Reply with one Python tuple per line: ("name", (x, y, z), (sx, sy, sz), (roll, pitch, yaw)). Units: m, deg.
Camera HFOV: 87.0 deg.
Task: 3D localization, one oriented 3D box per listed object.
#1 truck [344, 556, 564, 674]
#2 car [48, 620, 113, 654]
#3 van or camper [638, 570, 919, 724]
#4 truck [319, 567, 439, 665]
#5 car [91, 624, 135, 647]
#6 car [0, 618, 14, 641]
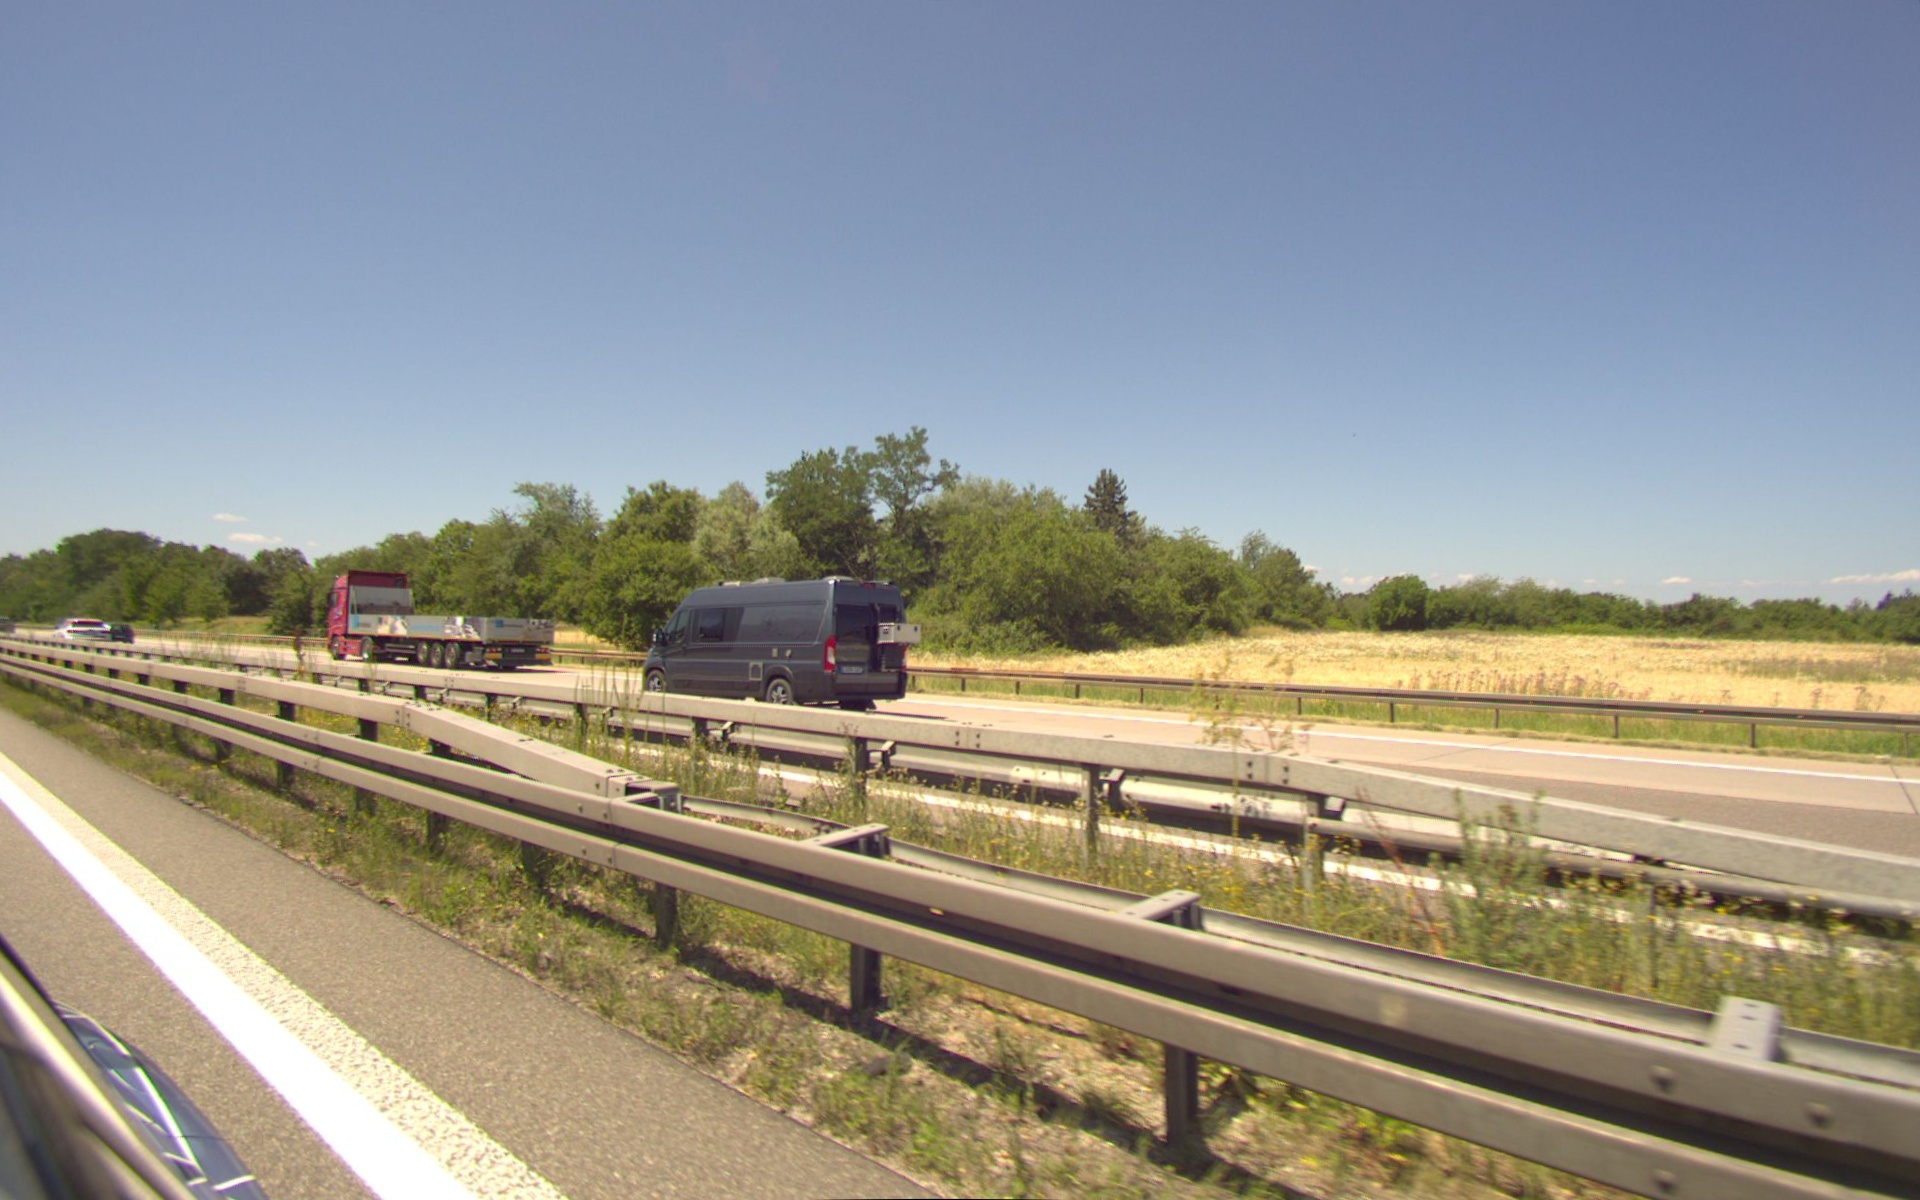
("truck", (-20.469, 0.663, 40.240), (13.515, 4.045, 2.732), (-1, -4, 41))
("car", (-42.753, 1.782, 49.177), (4.093, 1.580, 1.785), (-1, -3, 41))
("van or camper", (-3.711, 0.870, 19.876), (5.869, 2.608, 2.148), (-1, -3, 41))
("truck", (-25.802, 0.758, 44.875), (5.747, 4.045, 2.732), (-1, -4, 41))
("car", (-57.171, 2.372, 68.281), (3.676, 1.462, 1.715), (-1, -3, 41))
("car", (-72.851, 2.217, 76.277), (3.959, 1.660, 1.790), (-1, -3, 41))
